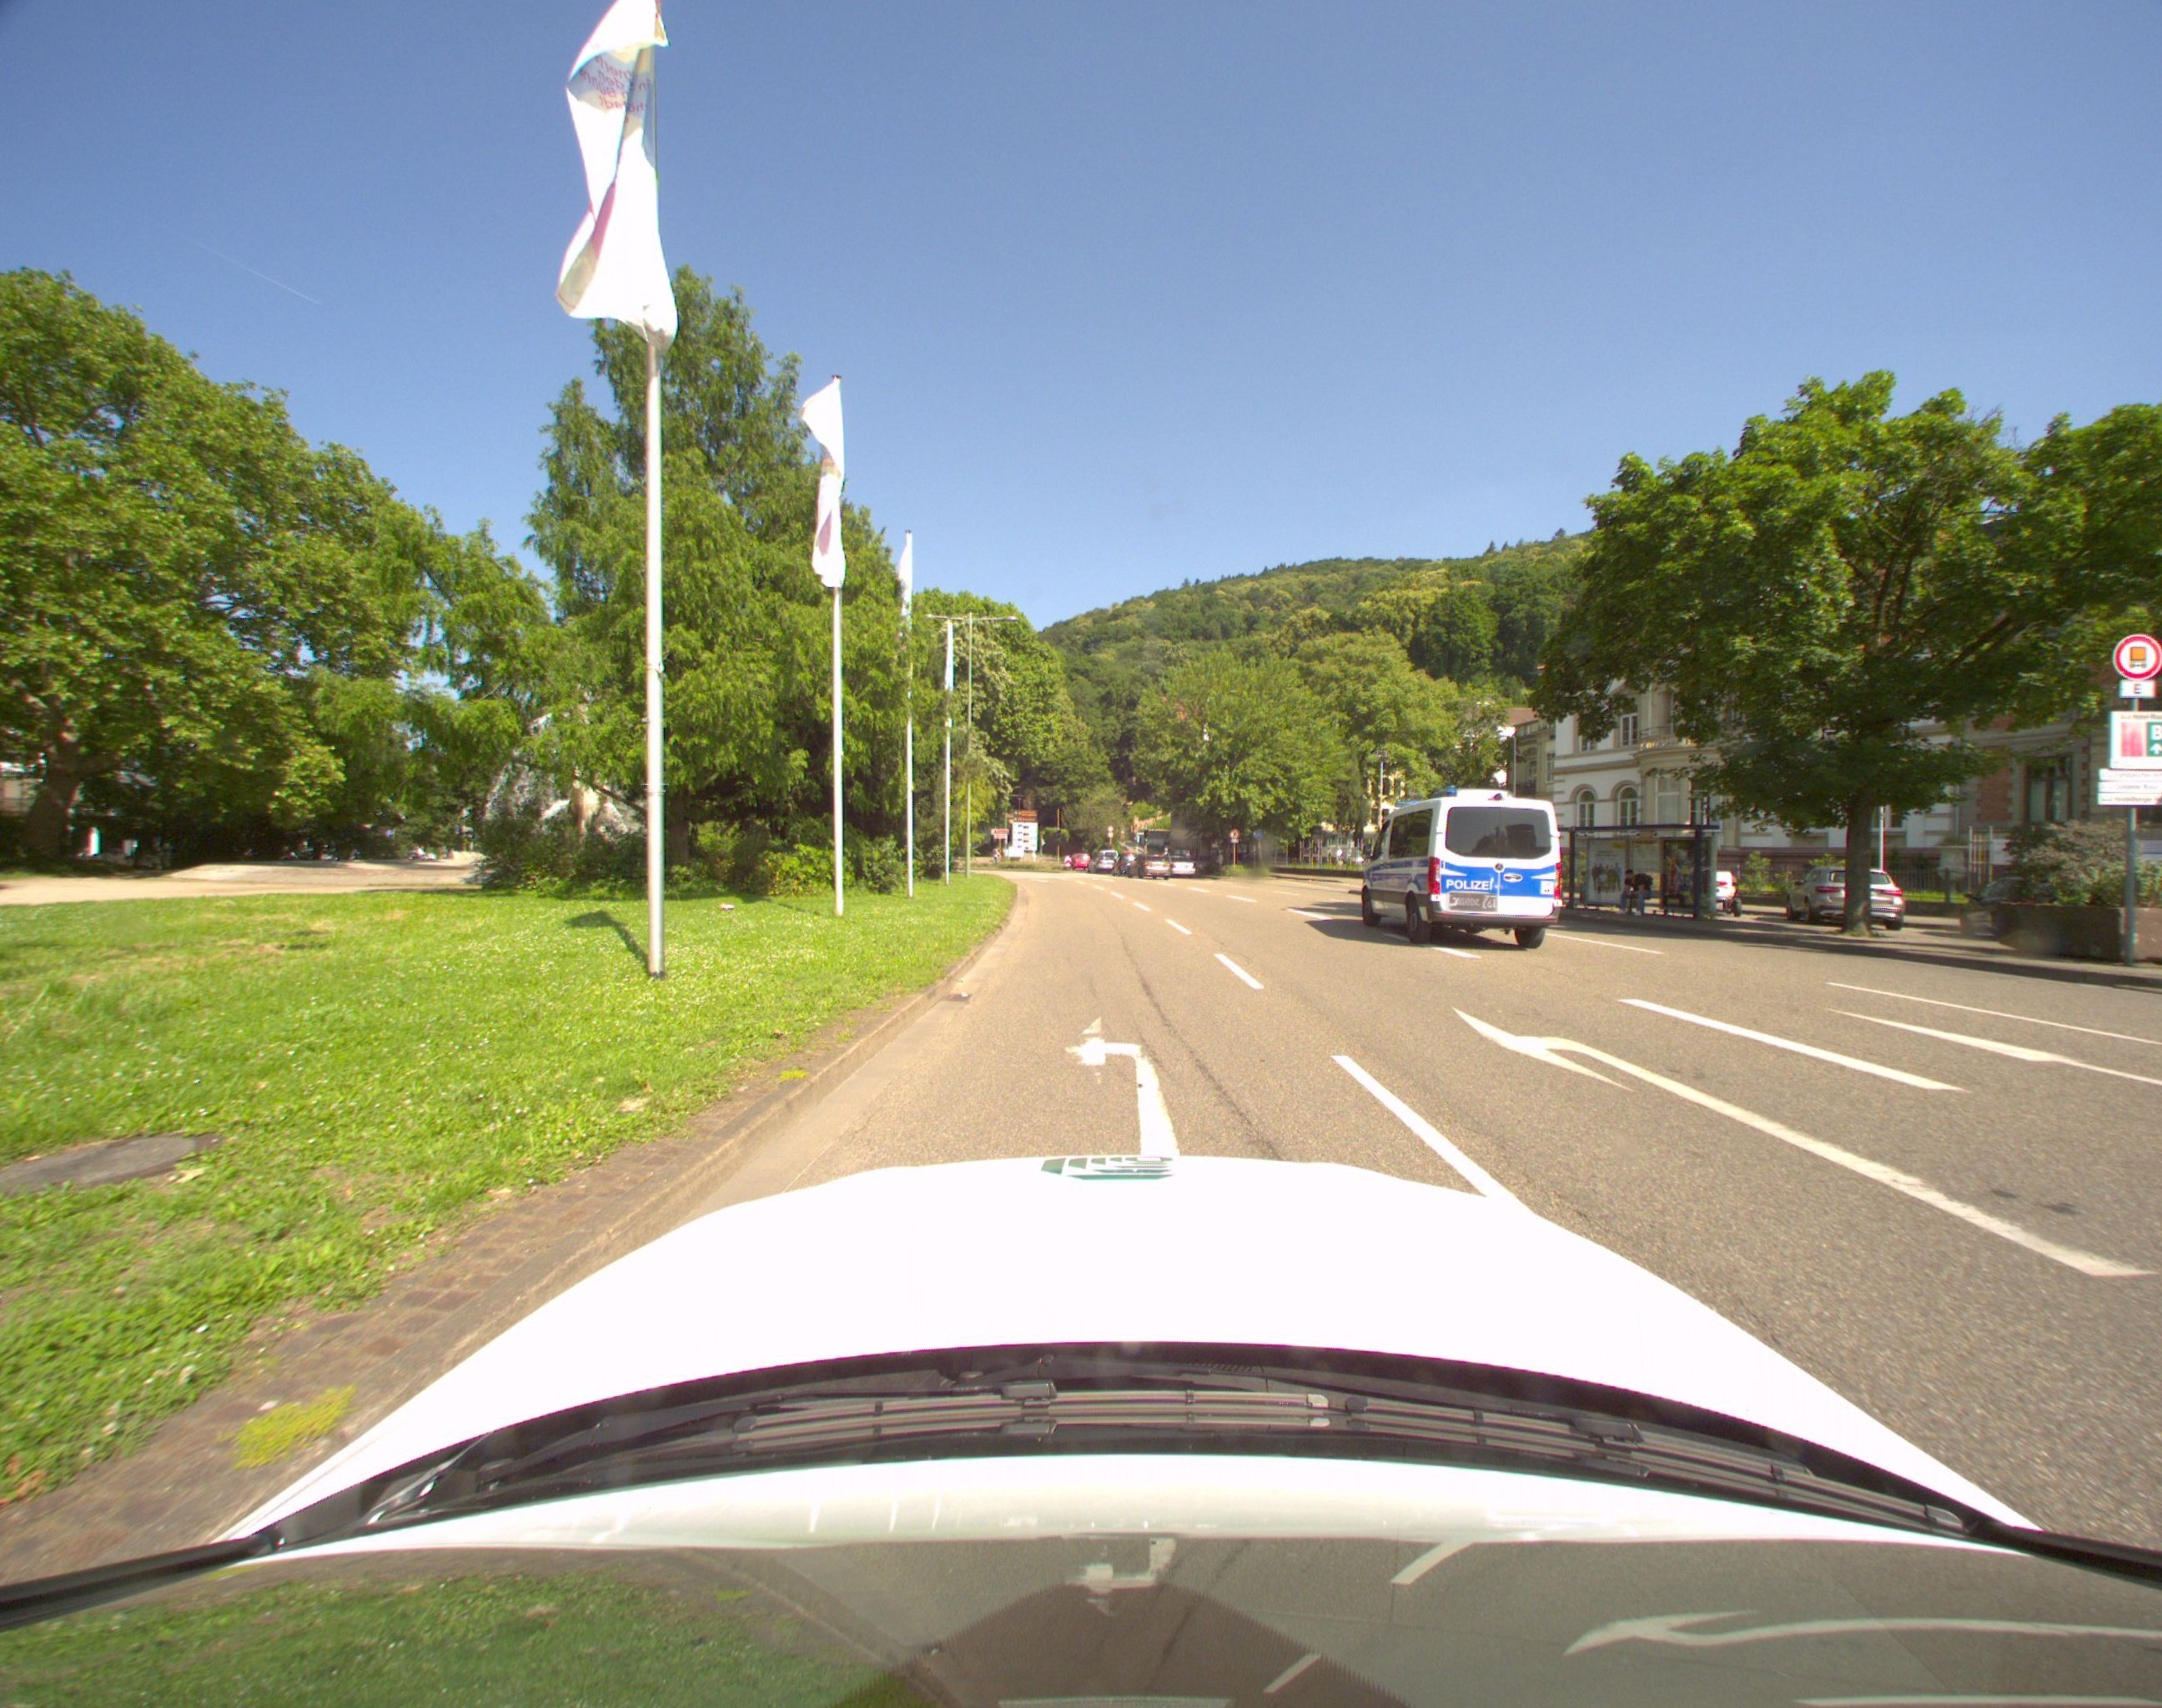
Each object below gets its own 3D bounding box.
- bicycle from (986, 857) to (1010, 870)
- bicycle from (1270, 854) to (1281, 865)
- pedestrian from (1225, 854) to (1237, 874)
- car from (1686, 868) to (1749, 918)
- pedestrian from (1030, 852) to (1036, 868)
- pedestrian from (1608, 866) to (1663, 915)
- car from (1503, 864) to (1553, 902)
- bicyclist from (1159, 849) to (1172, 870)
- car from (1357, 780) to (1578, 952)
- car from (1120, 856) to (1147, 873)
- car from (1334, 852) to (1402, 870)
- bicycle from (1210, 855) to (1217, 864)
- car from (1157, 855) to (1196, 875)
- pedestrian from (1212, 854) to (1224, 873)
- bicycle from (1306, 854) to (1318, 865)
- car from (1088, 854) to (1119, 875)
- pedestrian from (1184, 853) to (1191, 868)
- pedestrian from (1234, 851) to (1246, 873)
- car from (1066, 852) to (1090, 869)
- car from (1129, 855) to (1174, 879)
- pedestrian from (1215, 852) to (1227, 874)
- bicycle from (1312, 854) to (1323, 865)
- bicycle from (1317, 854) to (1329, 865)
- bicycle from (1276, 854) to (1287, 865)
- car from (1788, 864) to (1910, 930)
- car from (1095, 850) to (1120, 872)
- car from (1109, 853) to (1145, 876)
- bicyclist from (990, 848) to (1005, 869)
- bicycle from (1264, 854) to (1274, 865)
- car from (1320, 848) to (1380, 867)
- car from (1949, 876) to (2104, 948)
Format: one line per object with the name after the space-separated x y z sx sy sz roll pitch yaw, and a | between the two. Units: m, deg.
-7.763 0.867 75.835 2.060 1.112 0.760 1 0 18 | bicycle
19.685 0.594 82.468 0.536 1.085 1.832 0 0 -5 | bicycle
12.768 0.817 69.315 0.770 1.663 0.828 1 0 -5 | pedestrian
20.496 1.206 26.298 1.186 1.482 2.302 1 0 27 | car
-4.792 0.598 81.119 0.544 1.621 0.635 0 0 2 | pedestrian
14.338 0.927 21.069 1.024 1.197 0.785 1 0 -28 | pedestrian
18.711 1.145 34.026 1.692 1.442 3.835 1 0 30 | car
8.059 0.507 77.682 1.120 1.932 0.749 1 0 6 | bicyclist
6.530 0.180 14.481 2.062 2.508 4.938 1 0 7 | car
4.739 0.895 74.030 1.754 1.461 3.485 1 0 -7 | car
21.289 0.514 60.410 4.465 1.336 1.816 0 0 -10 | car
14.222 0.589 87.375 0.404 1.012 1.338 0 0 -6 | bicycle
6.206 0.723 53.156 1.754 1.213 3.485 1 0 -7 | car
11.780 0.817 70.134 0.770 1.663 0.828 1 0 -6 | pedestrian
23.416 0.596 82.557 0.536 1.085 1.832 0 0 -5 | bicycle
1.644 0.769 61.056 1.754 1.461 3.637 1 0 -7 | car
10.273 0.619 78.569 0.490 1.458 0.729 0 -1 -19 | pedestrian
13.465 0.643 68.906 0.770 1.854 0.827 1 0 -8 | pedestrian
-0.303 0.558 71.731 1.754 1.461 3.485 1 0 -7 | car
4.074 0.723 47.683 1.755 1.334 3.790 1 0 -8 | car
11.857 0.722 69.051 0.770 1.854 0.827 1 0 -7 | pedestrian
24.010 0.597 82.690 0.536 1.085 1.832 0 0 -5 | bicycle
24.597 0.598 82.787 0.536 1.085 1.832 0 0 -5 | bicycle
20.278 0.595 82.548 0.536 1.085 1.832 0 0 -5 | bicycle
21.323 1.106 22.781 1.692 1.629 4.343 1 0 33 | car
2.450 0.615 76.349 1.754 1.938 3.485 1 0 -7 | car
3.033 0.699 54.266 1.754 1.461 3.485 1 0 -7 | car
-7.785 0.448 75.840 1.117 1.932 0.752 1 -1 18 | bicyclist
19.011 0.594 82.391 0.536 1.085 1.832 0 0 -5 | bicycle
21.541 0.298 65.255 4.145 1.476 1.870 0 0 -12 | car
22.040 1.275 19.148 1.585 1.417 3.845 1 0 37 | car
